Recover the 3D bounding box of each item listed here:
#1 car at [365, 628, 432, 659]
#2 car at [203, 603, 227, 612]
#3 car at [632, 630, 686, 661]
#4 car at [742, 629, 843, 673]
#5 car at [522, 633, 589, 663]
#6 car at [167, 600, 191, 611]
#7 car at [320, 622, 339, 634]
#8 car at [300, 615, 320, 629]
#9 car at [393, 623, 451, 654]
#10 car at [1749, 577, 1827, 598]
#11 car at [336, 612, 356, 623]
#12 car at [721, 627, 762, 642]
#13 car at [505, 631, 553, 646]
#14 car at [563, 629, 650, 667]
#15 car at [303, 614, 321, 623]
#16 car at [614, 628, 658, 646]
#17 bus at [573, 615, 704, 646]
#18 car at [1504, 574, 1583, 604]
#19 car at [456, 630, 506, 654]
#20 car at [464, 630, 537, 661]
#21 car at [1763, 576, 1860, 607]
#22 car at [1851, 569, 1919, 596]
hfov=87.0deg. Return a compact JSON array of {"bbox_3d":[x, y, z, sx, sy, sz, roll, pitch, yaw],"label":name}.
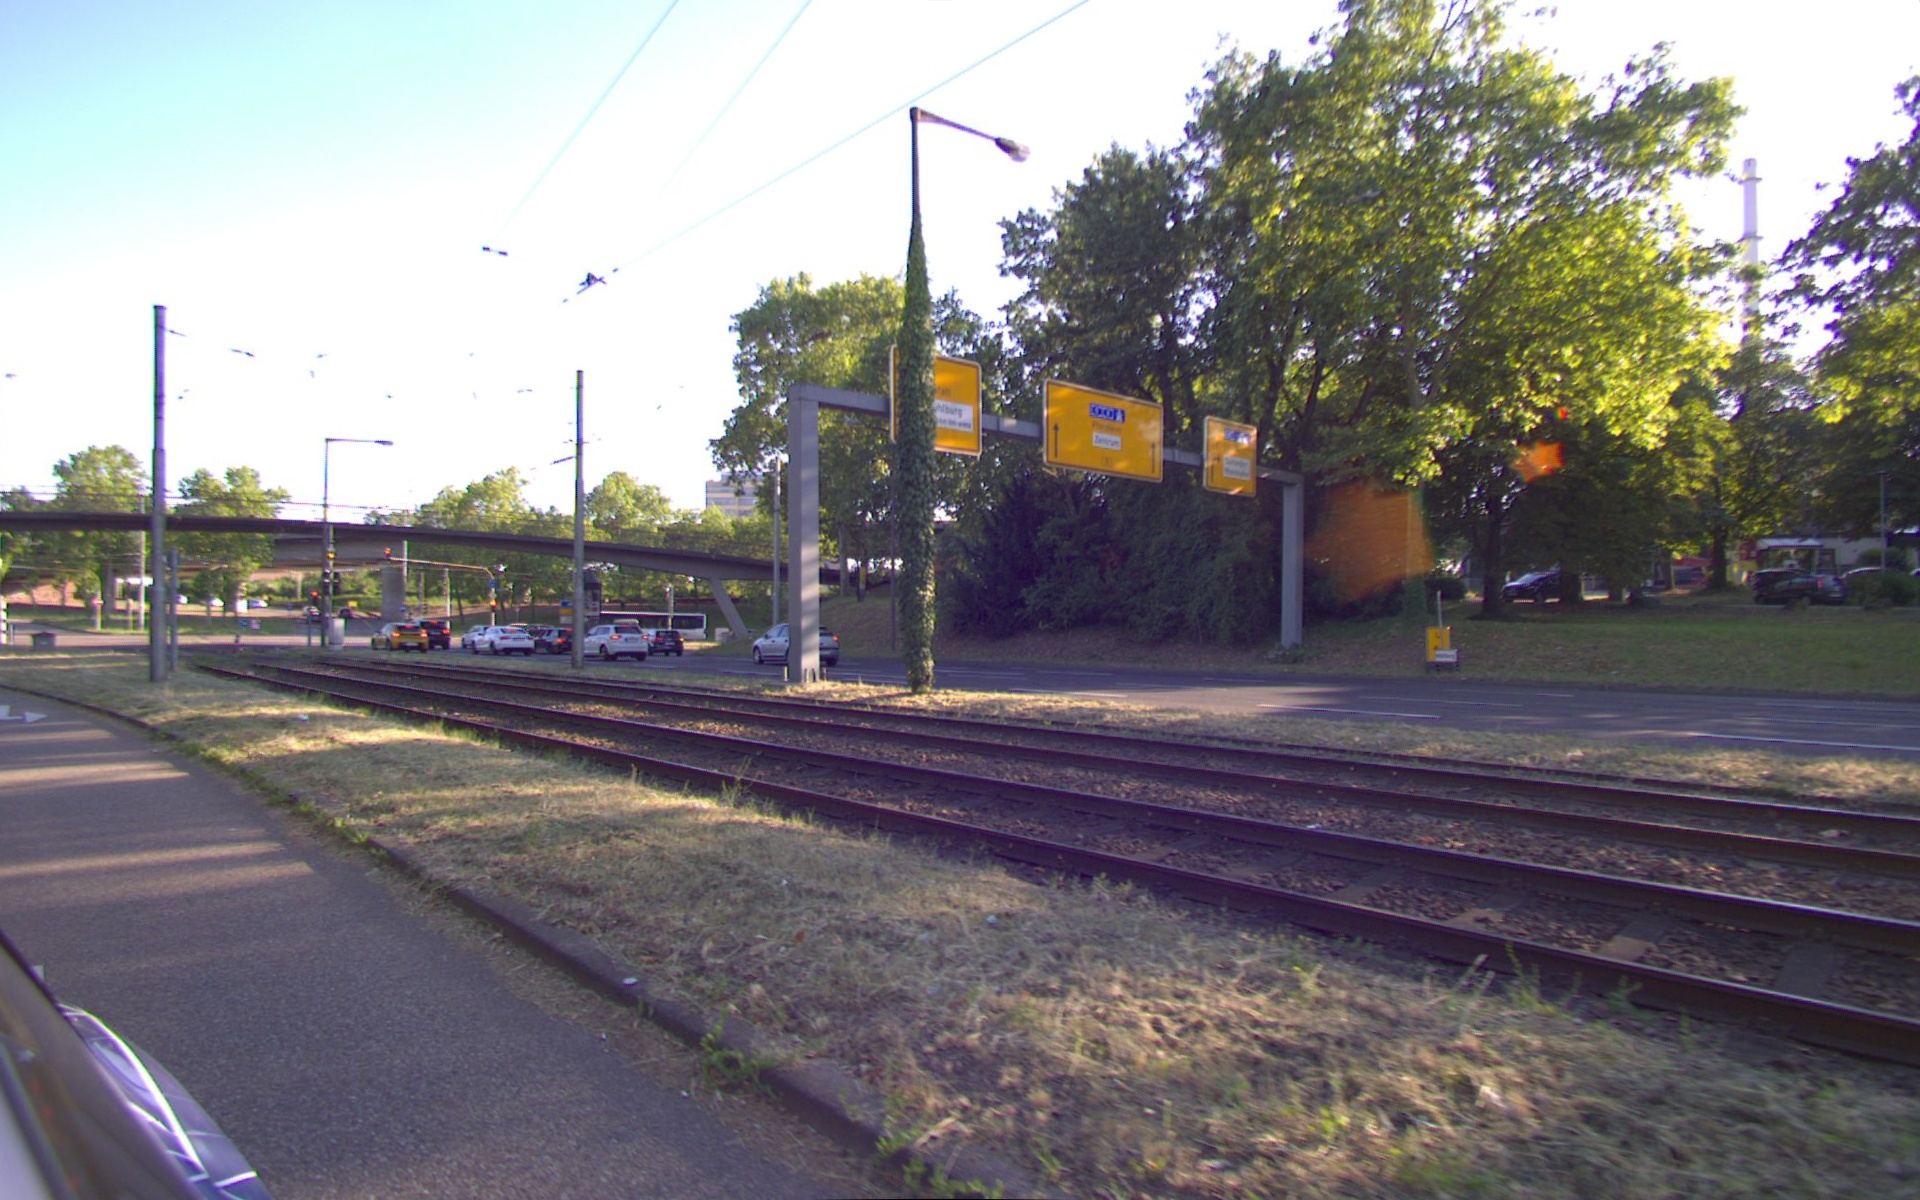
[{"bbox_3d":[-27.580,2.105,49.682,4.020,1.426,1.817,-1,-1,44],"label":"car"},{"bbox_3d":[-132.910,1.367,180.470,4.291,1.621,1.838,0,-1,30],"label":"car"},{"bbox_3d":[-16.369,2.425,54.959,1.813,1.493,4.614,-1,-1,-29],"label":"car"},{"bbox_3d":[-5.918,1.743,35.430,1.632,1.426,4.266,0,-1,-39],"label":"car"},{"bbox_3d":[-21.688,2.546,54.166,1.817,1.493,4.440,0,-1,-44],"label":"car"},{"bbox_3d":[-140.904,0.958,182.538,4.126,1.881,1.839,0,-1,28],"label":"car"},{"bbox_3d":[-72.815,3.177,116.837,1.664,1.320,4.320,1,-1,-35],"label":"car"},{"bbox_3d":[-81.661,2.755,127.174,1.767,1.663,4.366,1,-1,-38],"label":"car"},{"bbox_3d":[-31.235,2.191,58.666,1.817,1.667,4.439,0,-1,-44],"label":"car"},{"bbox_3d":[49.999,-0.748,61.177,3.515,1.129,1.350,-1,-1,36],"label":"car"},{"bbox_3d":[-87.853,2.482,144.803,1.979,1.454,4.262,1,-1,-37],"label":"car"},{"bbox_3d":[-23.140,3.648,107.185,3.930,1.453,1.711,1,-1,-22],"label":"car"},{"bbox_3d":[-39.790,3.554,93.497,4.024,1.364,1.722,1,-1,-22],"label":"car"},{"bbox_3d":[-14.328,1.918,40.890,1.634,1.426,4.261,0,-2,-45],"label":"car"},{"bbox_3d":[-100.115,2.852,156.334,1.979,1.454,4.870,1,-1,-38],"label":"car"},{"bbox_3d":[-31.871,3.637,99.590,4.024,1.665,1.722,1,-1,-22],"label":"car"},{"bbox_3d":[-32.799,3.118,103.508,12.630,2.977,2.840,1,-1,-20],"label":"bus"},{"bbox_3d":[28.328,-0.535,49.145,3.460,1.342,1.529,-1,-1,-24],"label":"car"},{"bbox_3d":[-30.217,2.621,63.775,1.666,1.426,4.443,0,-1,-43],"label":"car"},{"bbox_3d":[-22.364,2.191,49.191,1.817,1.426,4.603,1,-2,-44],"label":"car"},{"bbox_3d":[39.400,-0.363,46.919,1.503,1.342,3.520,-1,-1,1],"label":"car"},{"bbox_3d":[54.360,-0.996,58.982,3.515,1.471,1.350,-1,-1,36],"label":"car"}]
